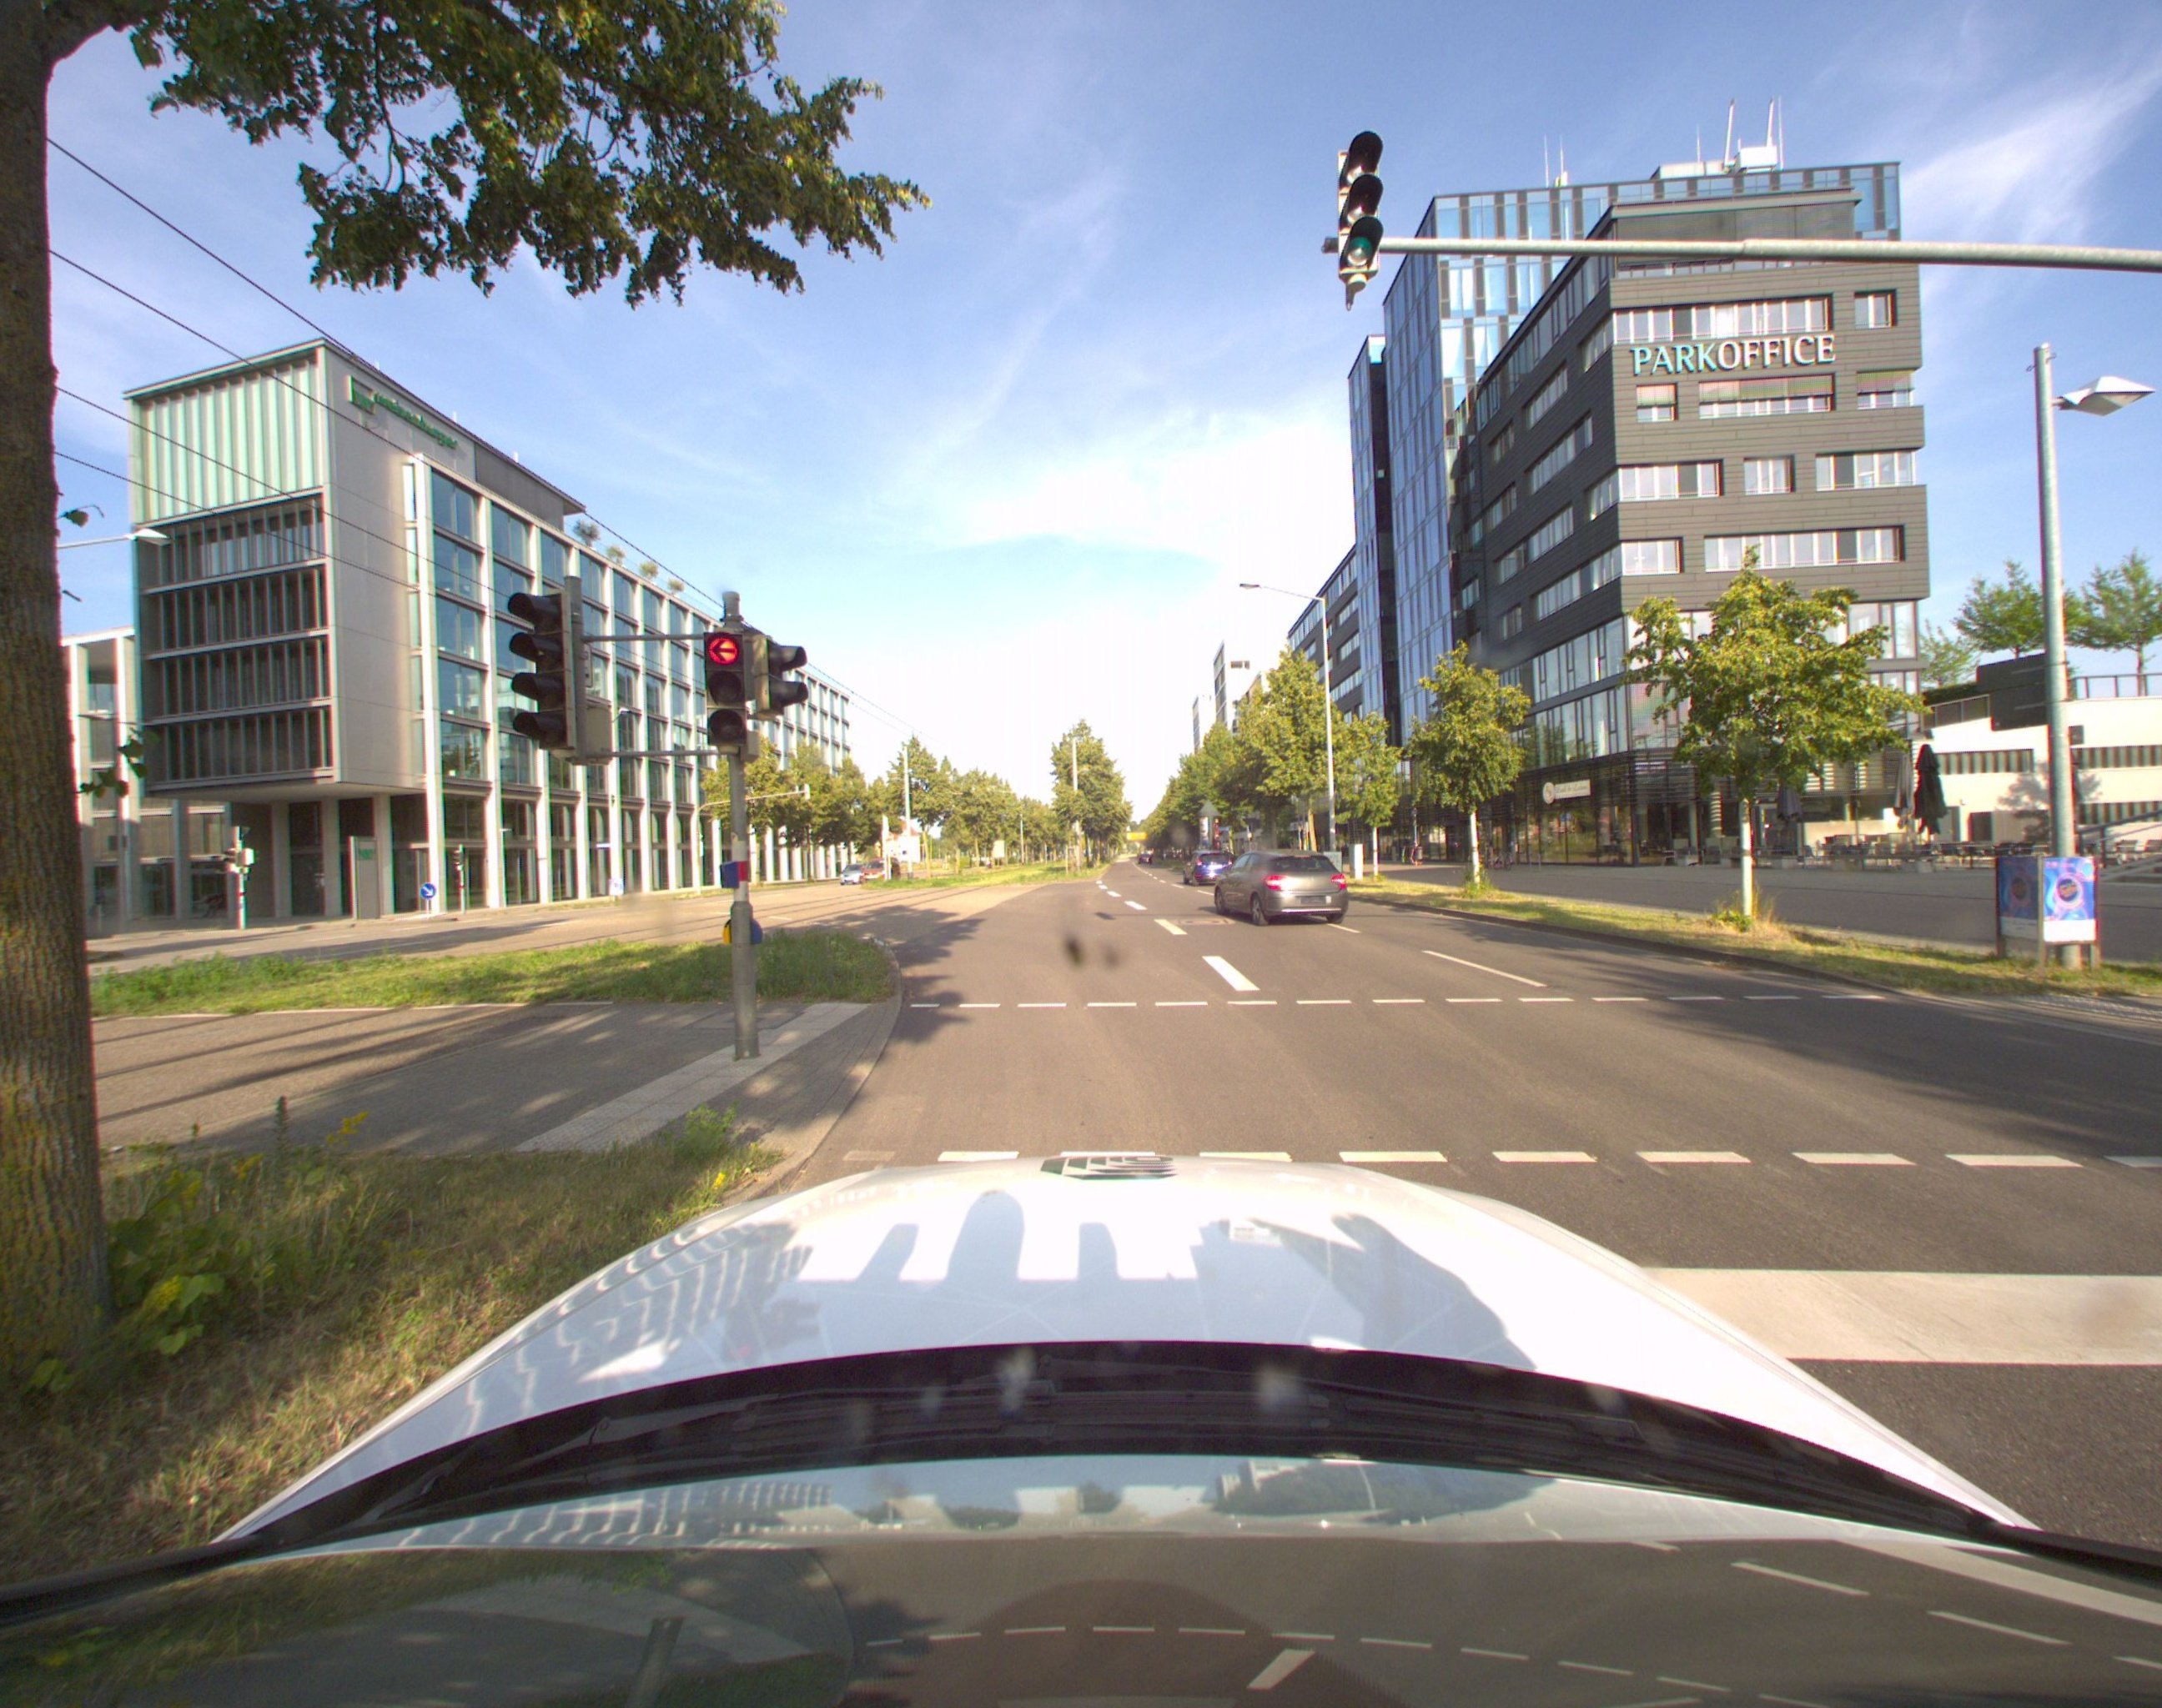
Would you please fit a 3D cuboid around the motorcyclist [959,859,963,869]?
[{"bbox_3d":[-18.897,1.571,128.494,0.484,1.564,0.455,0,-1,1],"label":"motorcyclist"}]

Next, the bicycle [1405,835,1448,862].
[{"bbox_3d":[22.108,-0.338,52.137,2.418,1.746,0.556,0,-1,12],"label":"bicycle"}]

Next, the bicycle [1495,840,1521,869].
[{"bbox_3d":[20.605,0.041,39.350,0.371,1.346,1.896,0,-1,4],"label":"bicycle"}]

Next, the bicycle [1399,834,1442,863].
[{"bbox_3d":[22.169,-0.352,53.186,2.547,1.857,0.571,0,-1,12],"label":"bicycle"}]

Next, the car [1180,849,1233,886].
[{"bbox_3d":[5.217,0.524,34.368,1.556,1.424,3.905,0,0,-1],"label":"car"}]

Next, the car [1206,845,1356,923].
[{"bbox_3d":[4.026,0.558,17.088,1.693,1.424,4.028,0,0,-8],"label":"car"}]

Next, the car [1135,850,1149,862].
[{"bbox_3d":[8.155,0.238,109.151,1.852,1.524,3.788,0,0,3],"label":"car"}]

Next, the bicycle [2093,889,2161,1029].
[{"bbox_3d":[9.041,0.781,6.153,2.128,1.013,0.571,0,-1,-1],"label":"bicycle"}]

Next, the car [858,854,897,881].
[{"bbox_3d":[-13.745,0.888,55.099,1.679,1.775,3.881,0,0,-1],"label":"car"}]

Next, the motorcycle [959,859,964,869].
[{"bbox_3d":[-18.898,1.581,128.492,0.472,1.531,1.993,0,0,2],"label":"motorcycle"}]

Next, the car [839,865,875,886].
[{"bbox_3d":[-16.731,1.566,61.008,1.633,1.443,3.955,0,0,-1],"label":"car"}]

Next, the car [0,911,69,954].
[{"bbox_3d":[-40.247,2.906,30.456,3.477,1.424,1.581,0,0,12],"label":"car"}]
